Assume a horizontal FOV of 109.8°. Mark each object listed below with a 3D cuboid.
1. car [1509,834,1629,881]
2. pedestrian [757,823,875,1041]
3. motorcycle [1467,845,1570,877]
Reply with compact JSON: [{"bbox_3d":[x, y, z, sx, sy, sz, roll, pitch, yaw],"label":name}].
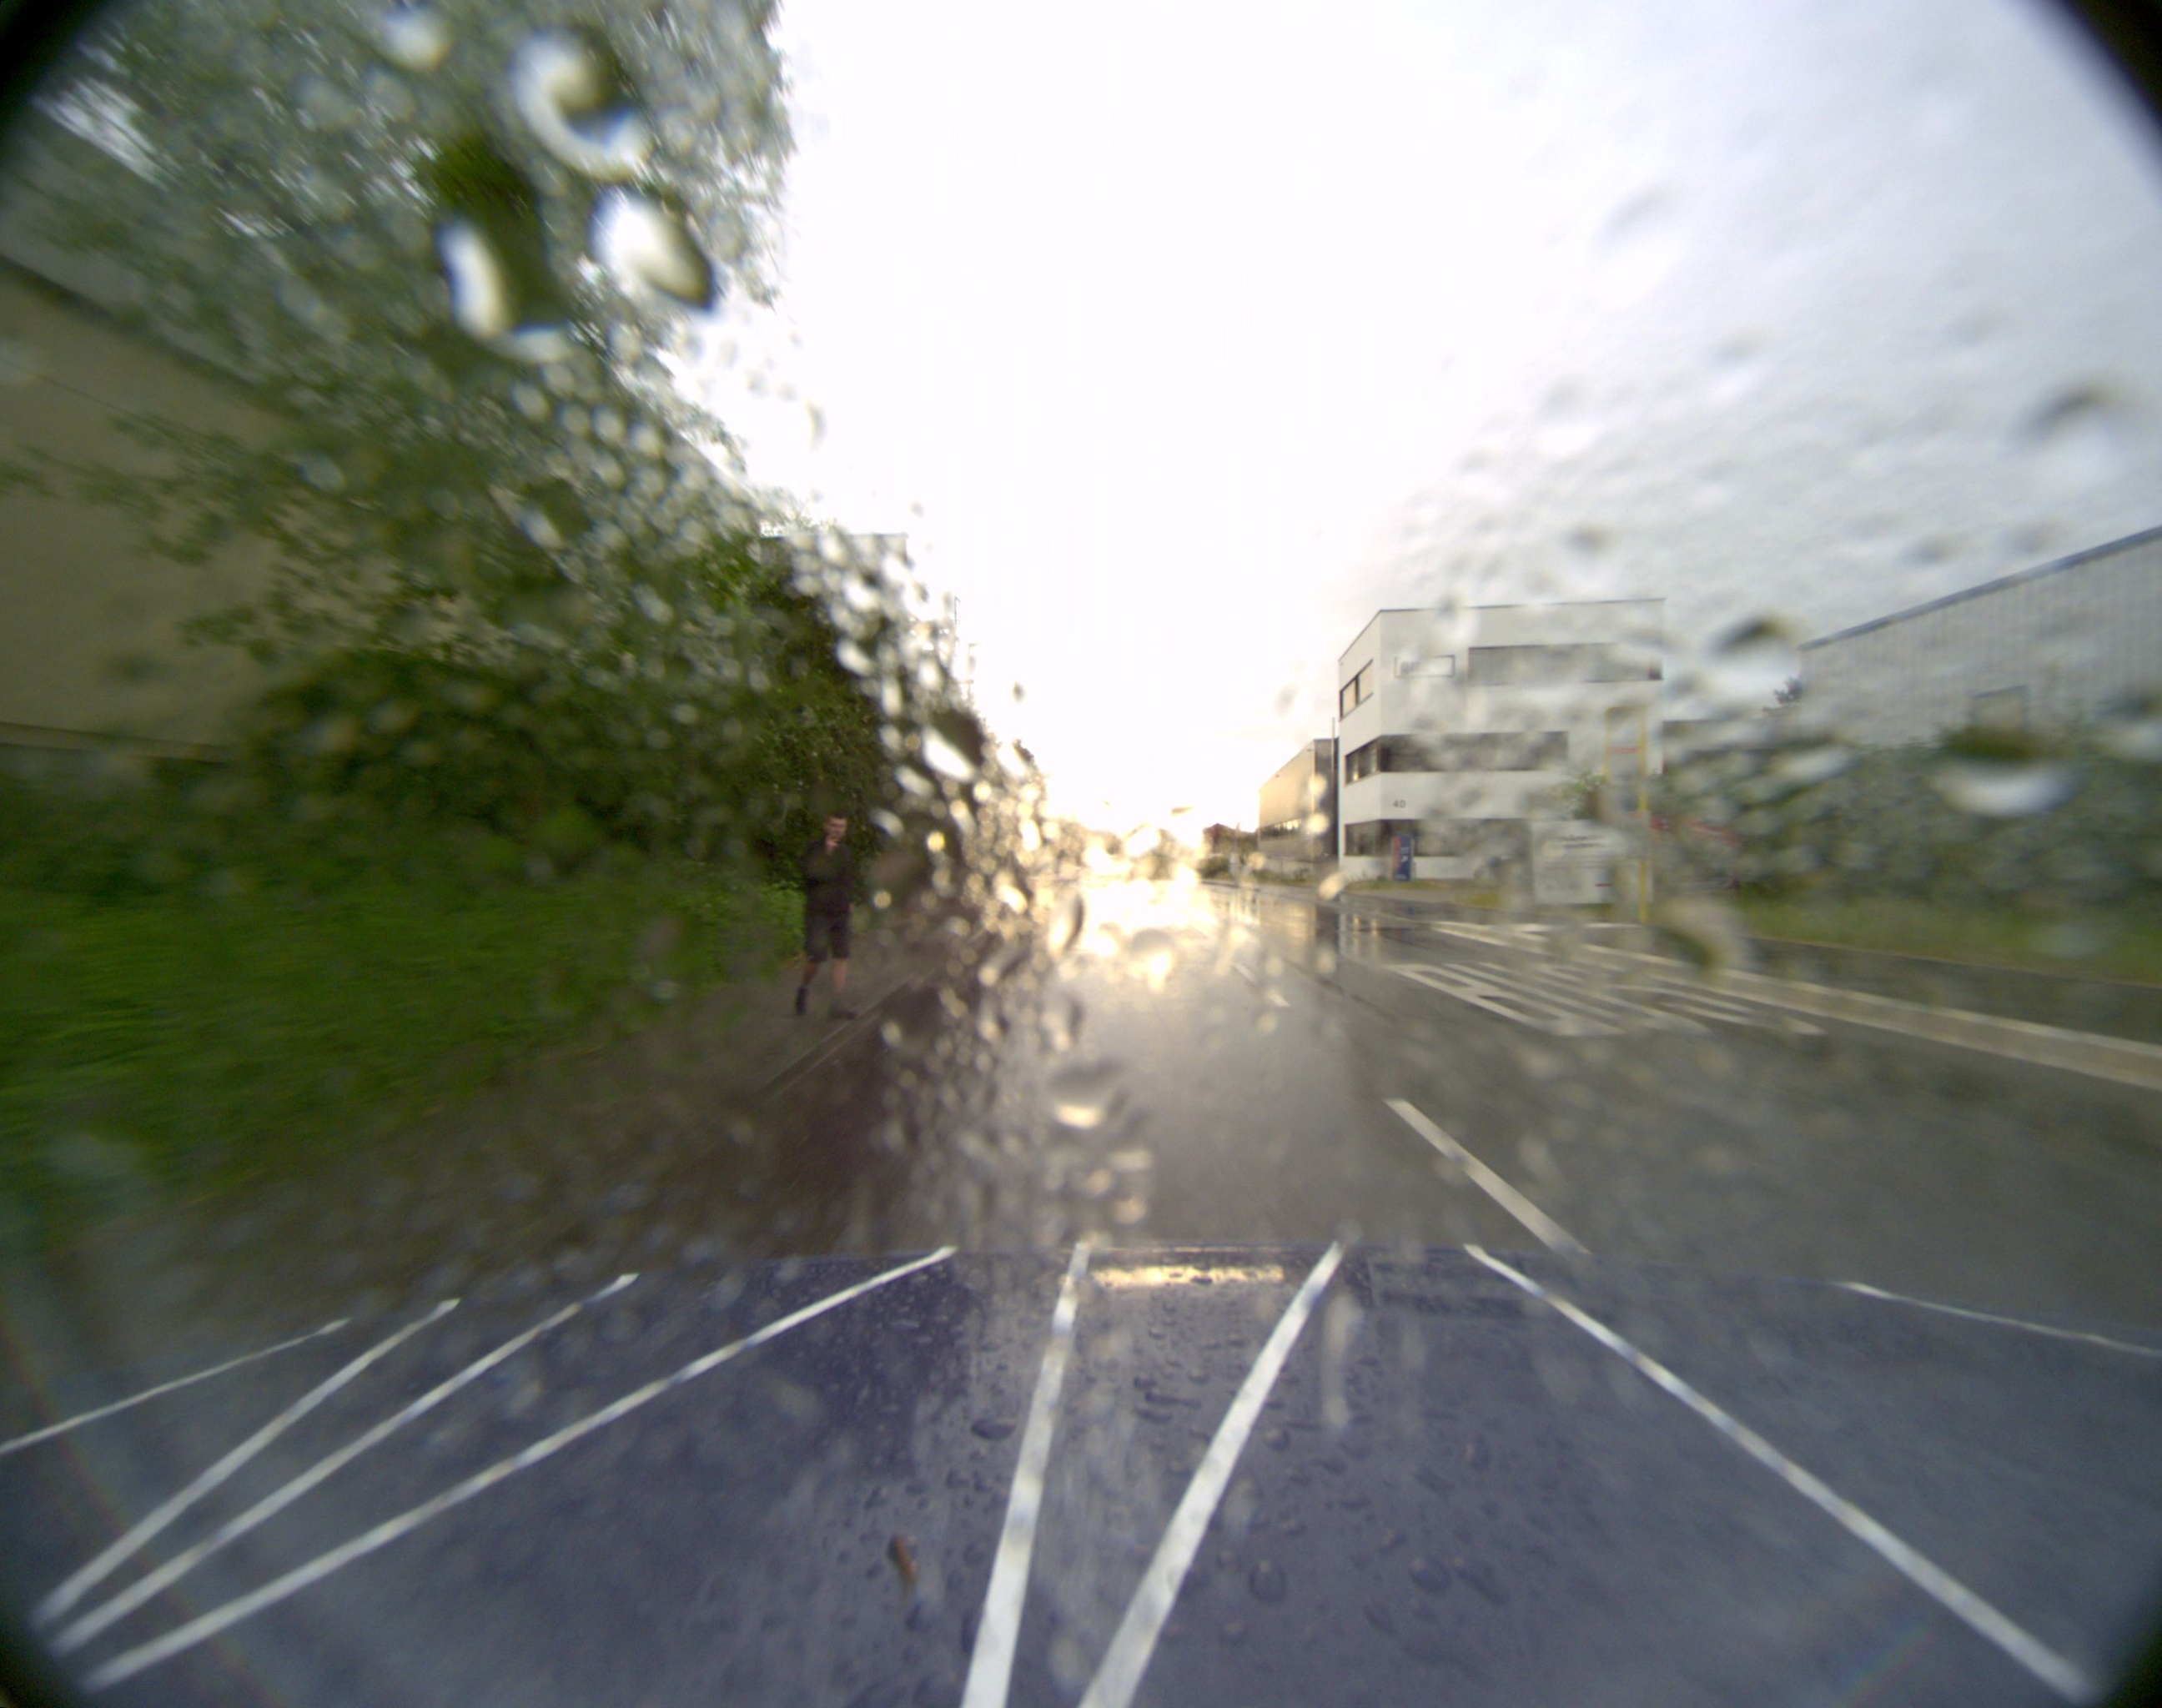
[{"bbox_3d":[18.447,0.134,29.017,1.856,1.586,4.607,-1,0,4],"label":"car"},{"bbox_3d":[-2.349,0.660,6.838,0.747,1.827,0.890,1,0,-1],"label":"pedestrian"},{"bbox_3d":[18.417,0.308,32.061,3.692,1.237,0.778,-2,0,8],"label":"motorcycle"}]
